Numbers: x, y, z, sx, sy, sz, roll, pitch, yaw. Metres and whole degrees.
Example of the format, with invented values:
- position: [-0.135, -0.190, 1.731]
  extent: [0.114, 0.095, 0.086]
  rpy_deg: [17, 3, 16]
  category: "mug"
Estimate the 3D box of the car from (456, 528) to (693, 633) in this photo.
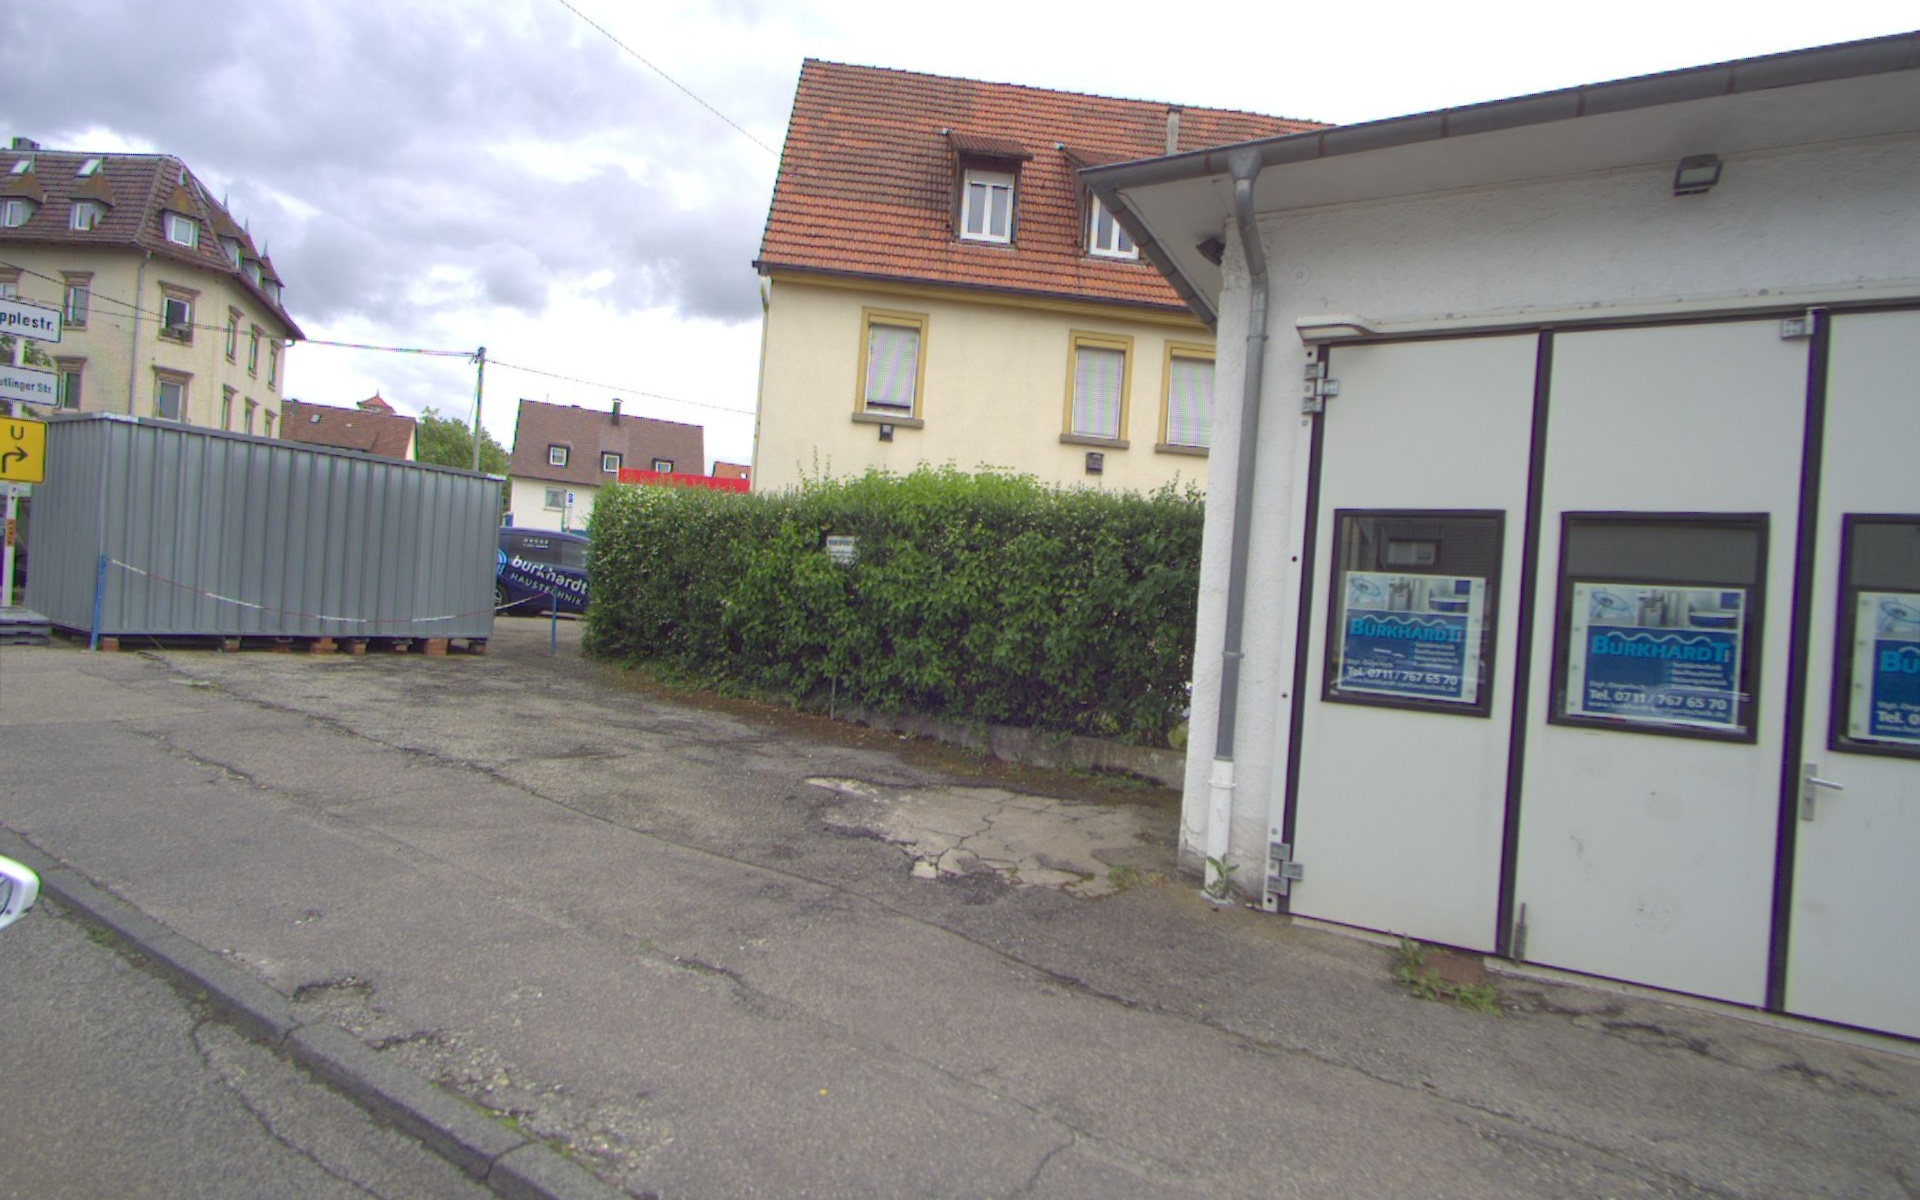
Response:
- position: [-9.188, -0.418, 24.284]
  extent: [4.802, 1.823, 1.904]
  rpy_deg: [7, -2, 0]
  category: "car"

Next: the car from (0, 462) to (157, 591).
- position: [-15.141, -1.259, 16.082]
  extent: [4.490, 1.762, 1.749]
  rpy_deg: [6, 2, 25]
  category: "car"

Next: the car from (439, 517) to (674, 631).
- position: [-8.192, -0.474, 20.740]
  extent: [3.929, 1.747, 1.870]
  rpy_deg: [7, -2, -4]
  category: "car"
